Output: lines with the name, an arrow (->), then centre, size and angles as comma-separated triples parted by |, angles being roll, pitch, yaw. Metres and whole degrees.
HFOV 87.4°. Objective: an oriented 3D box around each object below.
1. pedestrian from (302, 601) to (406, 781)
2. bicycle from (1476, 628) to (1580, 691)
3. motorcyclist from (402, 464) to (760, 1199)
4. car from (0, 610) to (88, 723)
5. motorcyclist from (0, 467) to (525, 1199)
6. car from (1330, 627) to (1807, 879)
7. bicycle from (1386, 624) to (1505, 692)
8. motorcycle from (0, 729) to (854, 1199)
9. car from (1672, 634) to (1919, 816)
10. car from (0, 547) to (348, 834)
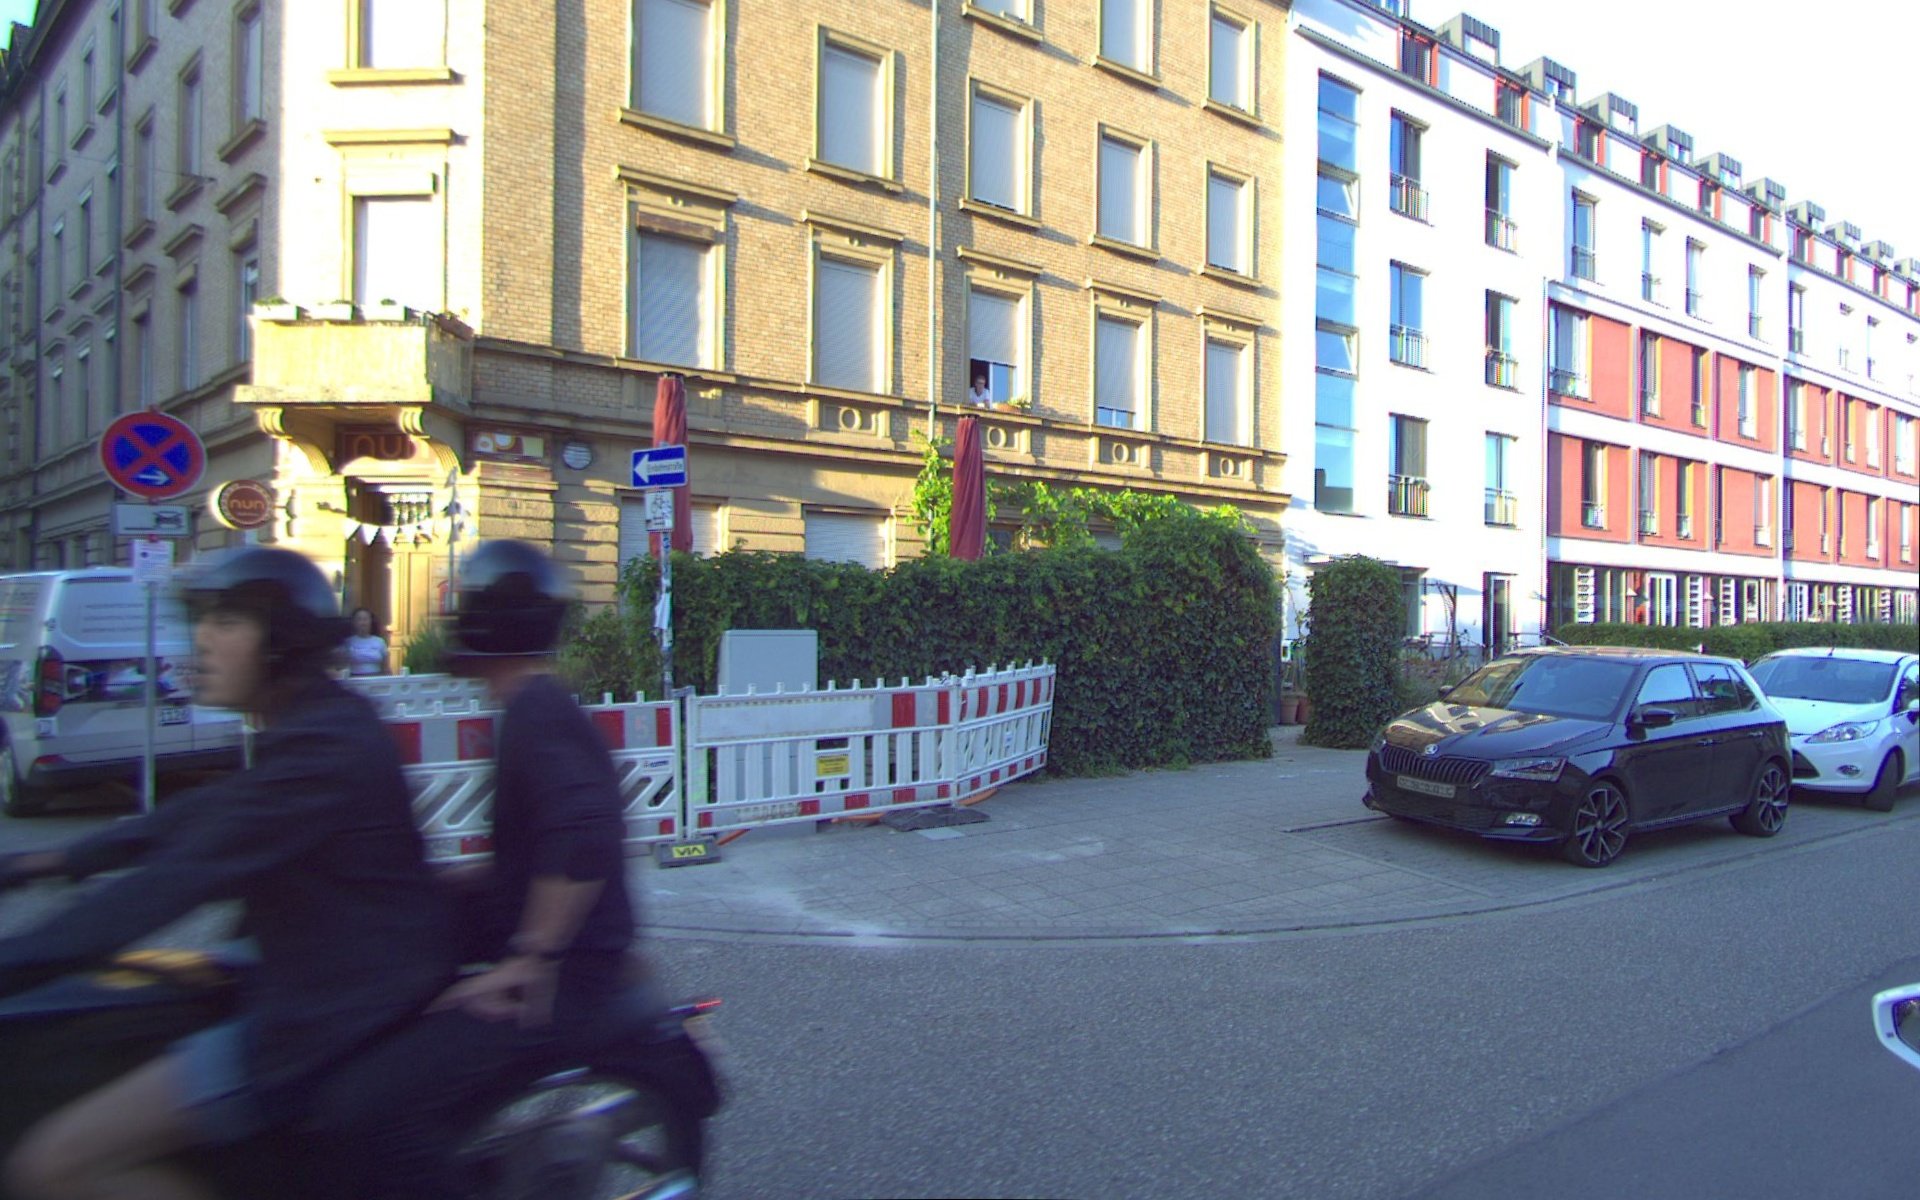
pedestrian -> -5.901, 0.847, 9.770 | 0.707, 1.640, 0.777 | 1, 0, -43
bicycle -> 11.502, 1.188, 20.396 | 0.603, 1.163, 1.768 | 1, 0, -27
motorcyclist -> -0.742, 0.591, 2.025 | 0.537, 1.560, 0.786 | 1, -4, -21
car -> -15.128, 0.954, 15.241 | 3.854, 1.592, 2.016 | -1, -1, 35
motorcyclist -> -1.348, 0.607, 1.814 | 0.955, 1.524, 0.888 | 1, -4, -21
car -> 4.941, 1.032, 8.053 | 3.800, 1.554, 1.695 | 2, -1, -31
bicycle -> 9.224, 1.071, 19.161 | 0.802, 1.157, 1.907 | 1, 0, -29
motorcycle -> -1.289, 0.901, 1.817 | 2.044, 1.224, 0.845 | 1, -4, -21
car -> 9.363, 1.176, 10.654 | 3.975, 1.550, 1.641 | 2, -1, -34
car -> -8.104, 0.662, 9.475 | 5.209, 2.001, 2.200 | 0, -1, 37
